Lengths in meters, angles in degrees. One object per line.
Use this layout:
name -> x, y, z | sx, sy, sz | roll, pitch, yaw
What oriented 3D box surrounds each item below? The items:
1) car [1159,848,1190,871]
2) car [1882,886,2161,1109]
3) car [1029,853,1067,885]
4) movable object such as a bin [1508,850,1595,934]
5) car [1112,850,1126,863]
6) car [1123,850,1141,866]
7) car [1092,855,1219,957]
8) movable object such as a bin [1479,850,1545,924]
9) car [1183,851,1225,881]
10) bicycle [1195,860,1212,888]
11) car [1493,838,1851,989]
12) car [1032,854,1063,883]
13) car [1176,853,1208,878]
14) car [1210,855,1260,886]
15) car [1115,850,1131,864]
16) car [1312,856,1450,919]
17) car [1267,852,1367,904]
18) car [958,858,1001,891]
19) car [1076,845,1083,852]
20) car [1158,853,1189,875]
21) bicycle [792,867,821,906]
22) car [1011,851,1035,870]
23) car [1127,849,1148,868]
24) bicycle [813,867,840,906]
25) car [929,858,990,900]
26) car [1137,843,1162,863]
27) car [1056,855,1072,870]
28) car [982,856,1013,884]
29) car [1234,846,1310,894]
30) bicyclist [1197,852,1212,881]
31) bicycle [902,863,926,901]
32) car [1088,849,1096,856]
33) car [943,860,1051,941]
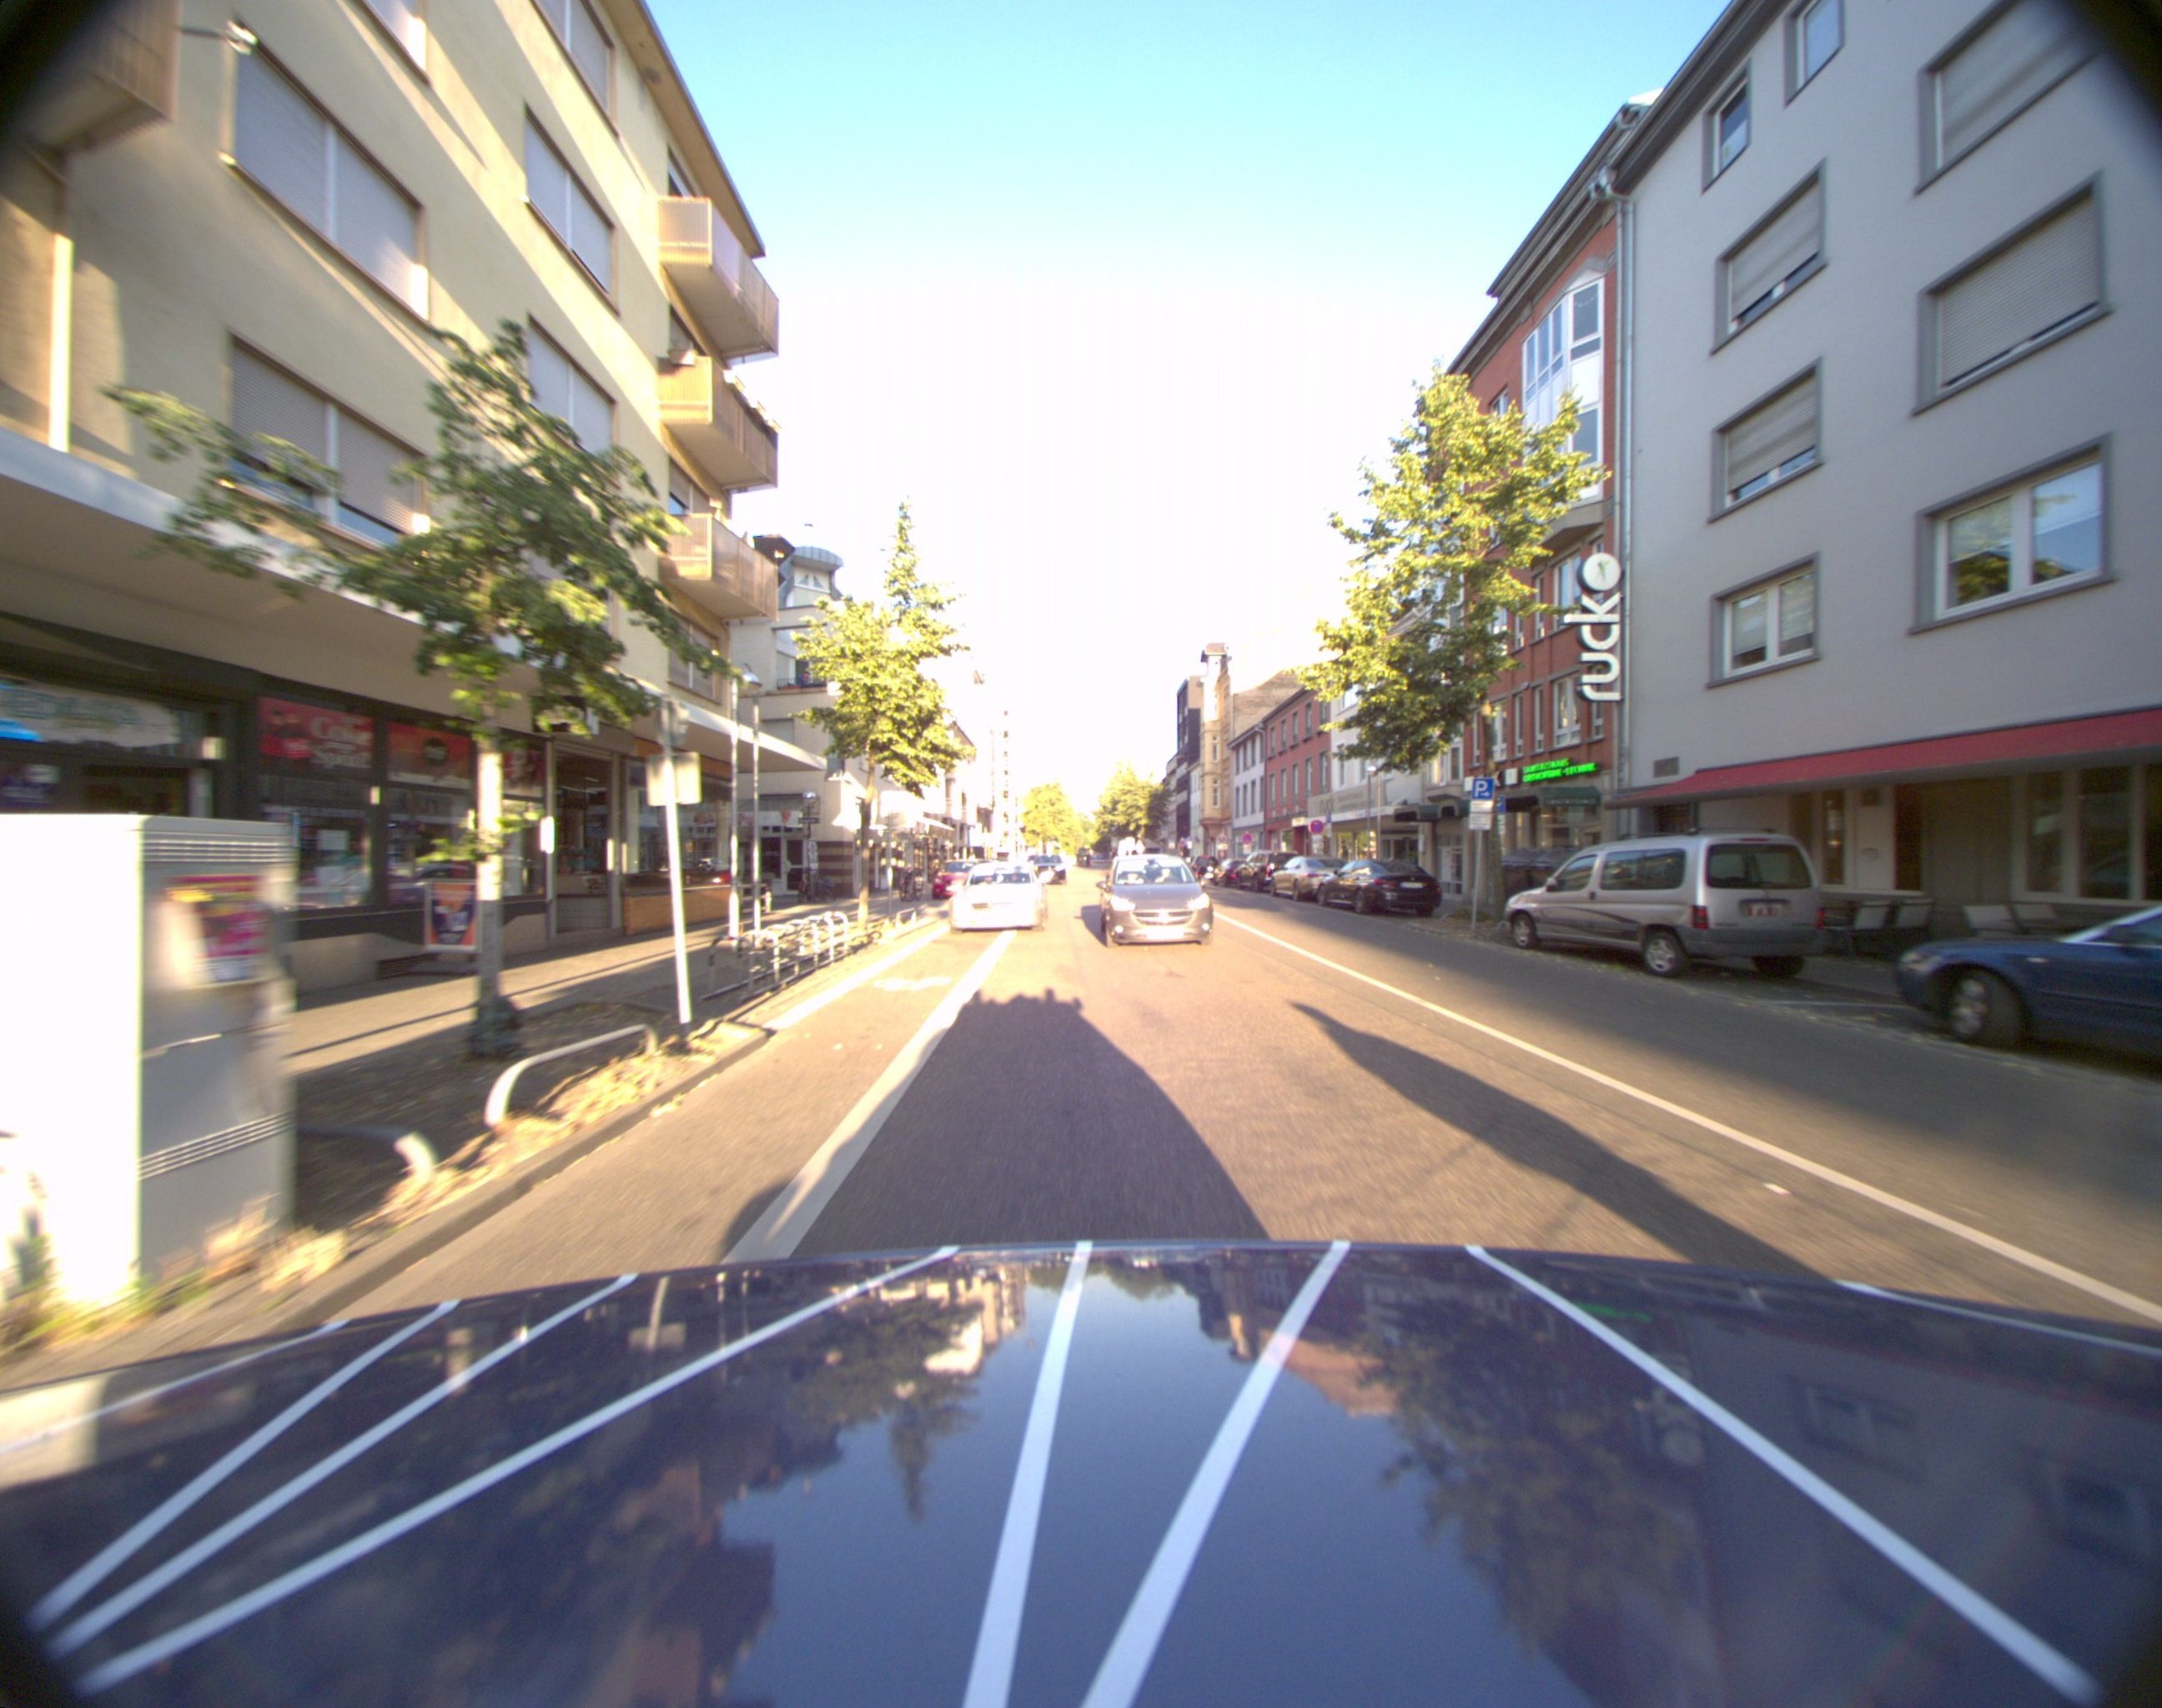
car -> 7.472, 0.418, 60.789 | 1.881, 1.667, 4.036 | -2, 1, -1
car -> 7.843, 0.989, 4.456 | 1.653, 1.345, 4.310 | 0, 1, -2
car -> -1.723, 0.760, 40.583 | 1.896, 1.632, 3.749 | -1, 0, -1
movable object such as a bin -> 9.247, 0.704, 14.999 | 0.753, 1.535, 1.484 | -2, 1, -1
car -> 5.161, 0.331, 103.256 | 1.765, 1.762, 3.872 | 0, 0, -1
car -> 5.684, 0.397, 85.135 | 1.765, 1.762, 3.872 | 0, 0, -1
car -> 1.135, 0.774, 13.188 | 1.587, 1.445, 3.841 | -1, 0, -4
movable object such as a bin -> 9.238, 0.686, 16.343 | 0.748, 1.526, 1.100 | -2, 0, -1
car -> 7.596, 0.720, 47.351 | 1.876, 1.718, 4.139 | -1, 1, -1
bicycle -> 5.757, 0.941, 35.704 | 0.420, 1.230, 1.693 | -2, 1, -3
car -> 7.838, 0.650, 10.650 | 1.719, 1.654, 3.998 | -2, 1, -4
car -> -1.976, 0.831, 44.936 | 1.691, 1.534, 3.730 | -2, 1, -2
car -> 7.625, 0.785, 52.515 | 1.685, 1.581, 3.516 | -1, 1, 0
car -> 7.801, 0.795, 38.723 | 1.736, 1.516, 3.842 | 0, 0, -1
car -> 5.167, 0.364, 93.920 | 1.787, 1.762, 3.872 | 0, 0, -1
car -> 7.763, 0.798, 20.158 | 1.804, 1.385, 4.416 | -1, 1, -2
car -> 7.836, 0.740, 25.764 | 1.895, 1.590, 4.944 | 1, 0, 0
car -> -4.735, 0.926, 35.862 | 1.614, 1.386, 3.694 | -2, 0, -2
car -> -0.302, -1.219, 173.982 | 1.672, 1.630, 3.255 | -2, 1, 0
car -> 6.851, 0.746, 56.399 | 1.791, 1.504, 3.777 | -1, 1, -1
bicycle -> -8.801, 1.025, 24.424 | 0.331, 1.123, 2.011 | -1, 1, -5
car -> -4.986, 0.515, 65.397 | 1.765, 1.563, 3.872 | 0, 0, 0
car -> 5.595, 0.431, 76.035 | 1.765, 1.762, 3.872 | 0, 0, -1
bicycle -> -8.188, 1.023, 24.471 | 0.331, 1.123, 2.011 | 1, 1, -5
car -> -4.517, 0.890, 28.693 | 1.653, 1.420, 4.000 | -2, 0, -1
car -> 6.085, -0.116, 68.038 | 1.795, 1.606, 3.972 | -2, 1, -1
car -> -1.931, 0.950, 87.595 | 1.692, 1.644, 3.733 | -2, 1, -1
car -> -4.658, 0.878, 42.906 | 1.431, 1.443, 3.380 | -1, 0, -2
car -> 8.082, 0.660, 32.610 | 1.973, 1.873, 4.947 | 0, 0, -1
bicyclist -> 5.772, 0.578, 35.577 | 0.569, 1.295, 0.660 | -2, 1, -2
bicycle -> -5.754, 0.957, 26.235 | 0.505, 1.231, 1.712 | 1, 1, -1
car -> 3.048, -0.363, 213.683 | 1.845, 1.796, 3.584 | -2, 1, 4
car -> -1.662, 0.890, 16.443 | 1.790, 1.361, 4.572 | -2, 1, 0
